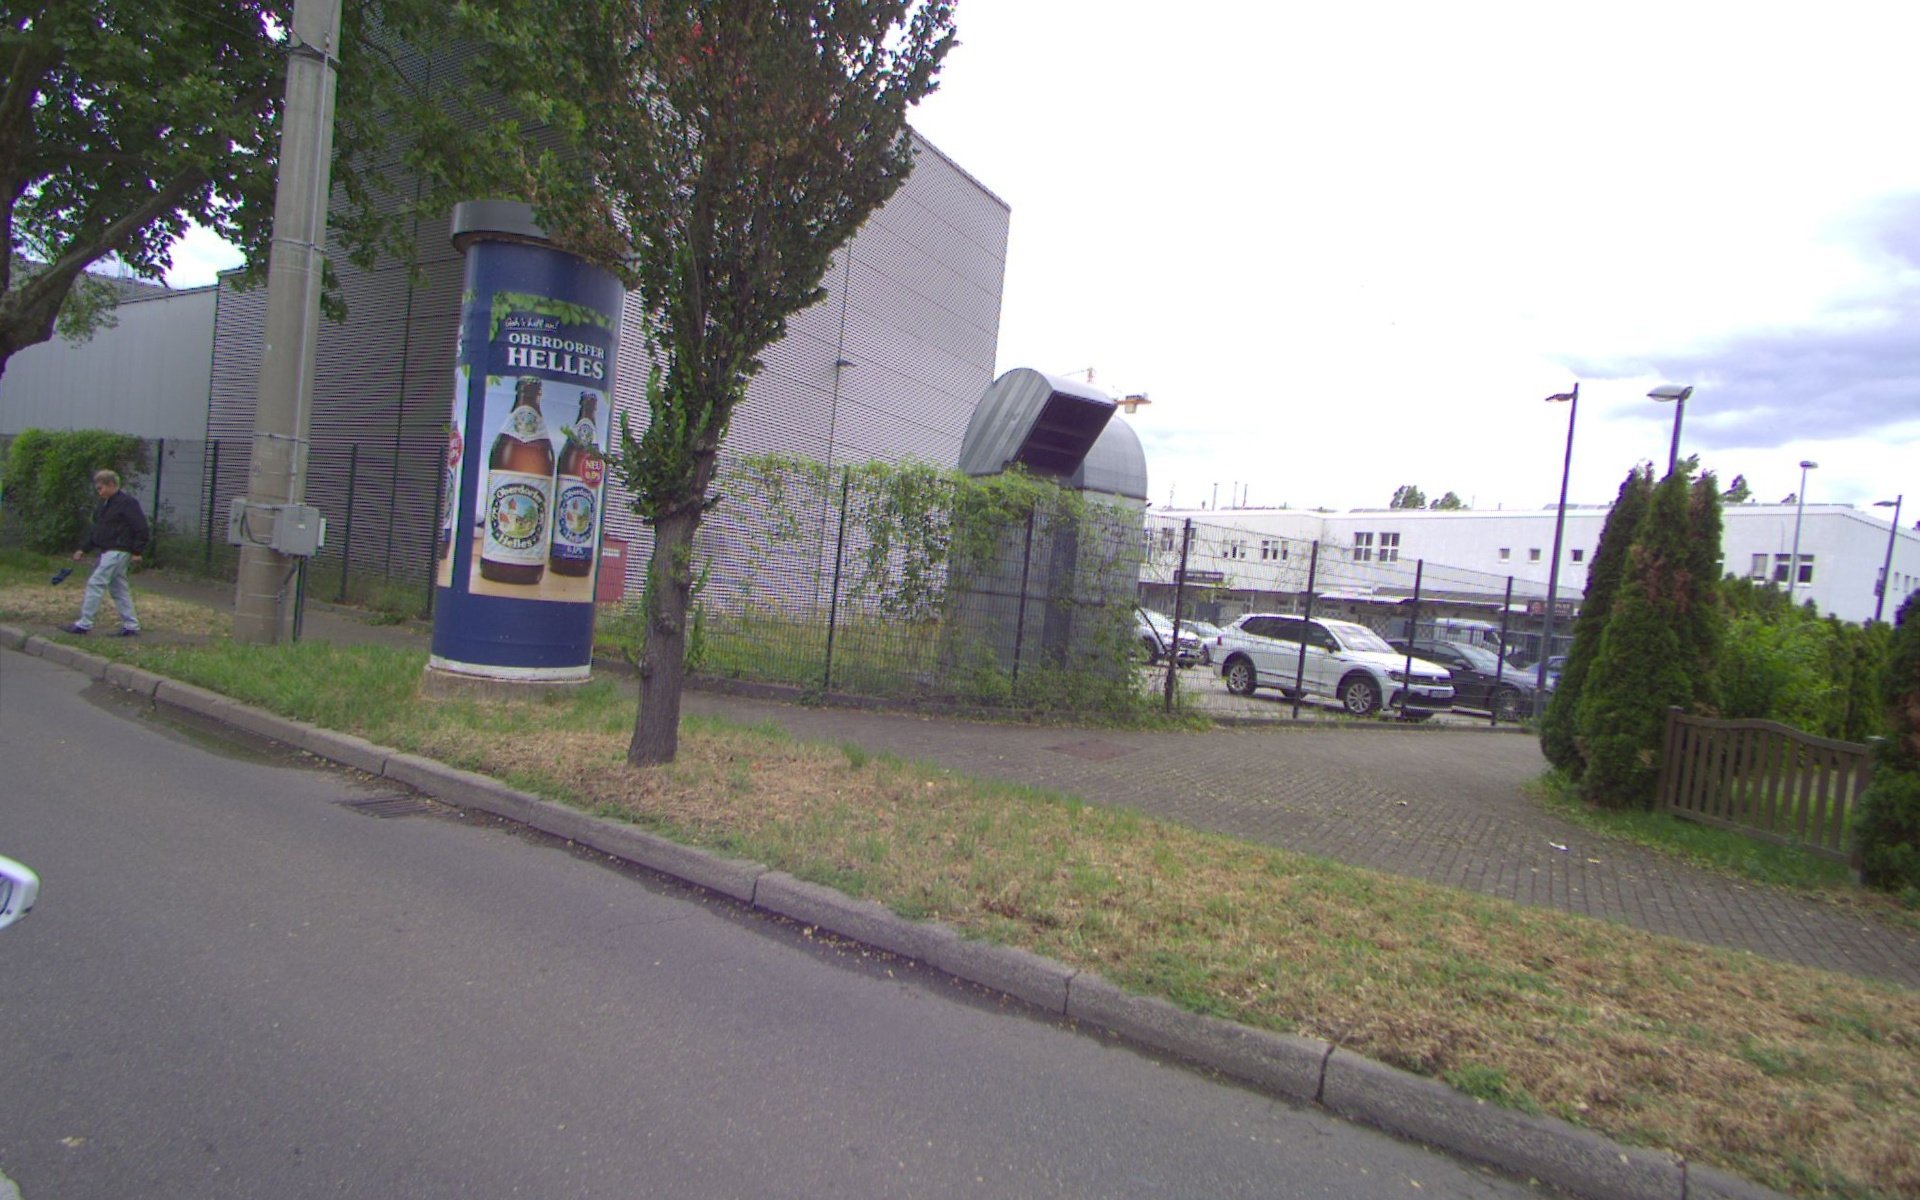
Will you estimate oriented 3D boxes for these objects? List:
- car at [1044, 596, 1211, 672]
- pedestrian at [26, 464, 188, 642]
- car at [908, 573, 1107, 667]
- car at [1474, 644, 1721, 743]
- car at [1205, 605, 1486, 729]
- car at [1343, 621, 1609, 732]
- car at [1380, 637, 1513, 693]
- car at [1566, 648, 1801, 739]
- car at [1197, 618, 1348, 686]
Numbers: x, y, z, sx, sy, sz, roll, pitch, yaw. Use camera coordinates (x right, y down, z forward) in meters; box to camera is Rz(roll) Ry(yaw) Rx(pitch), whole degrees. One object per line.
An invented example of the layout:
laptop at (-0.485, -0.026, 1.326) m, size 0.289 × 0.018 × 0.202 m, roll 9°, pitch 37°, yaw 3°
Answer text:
car at (4.851, 0.959, 29.580) m, size 4.418 × 1.687 × 1.999 m, roll 6°, pitch 1°, yaw -1°
pedestrian at (-9.286, -0.490, 11.005) m, size 0.799 × 1.783 × 1.119 m, roll 4°, pitch 1°, yaw -7°
car at (1.123, 0.467, 24.222) m, size 4.197 × 1.668 × 1.999 m, roll 6°, pitch -2°, yaw 29°
car at (15.085, 2.166, 24.087) m, size 1.979 × 1.686 × 4.464 m, roll 6°, pitch 1°, yaw -31°
car at (6.951, 1.161, 18.645) m, size 1.979 × 1.686 × 4.464 m, roll 6°, pitch 1°, yaw -31°
car at (10.616, 1.525, 21.050) m, size 1.979 × 1.686 × 4.464 m, roll 6°, pitch 1°, yaw -31°
car at (19.323, 2.574, 40.119) m, size 1.982 × 1.668 × 4.233 m, roll 8°, pitch -2°, yaw -34°
car at (18.753, 2.376, 26.309) m, size 1.979 × 1.686 × 4.464 m, roll 6°, pitch 1°, yaw -31°
car at (10.032, 1.648, 32.580) m, size 1.982 × 1.668 × 4.233 m, roll 8°, pitch -2°, yaw -34°
